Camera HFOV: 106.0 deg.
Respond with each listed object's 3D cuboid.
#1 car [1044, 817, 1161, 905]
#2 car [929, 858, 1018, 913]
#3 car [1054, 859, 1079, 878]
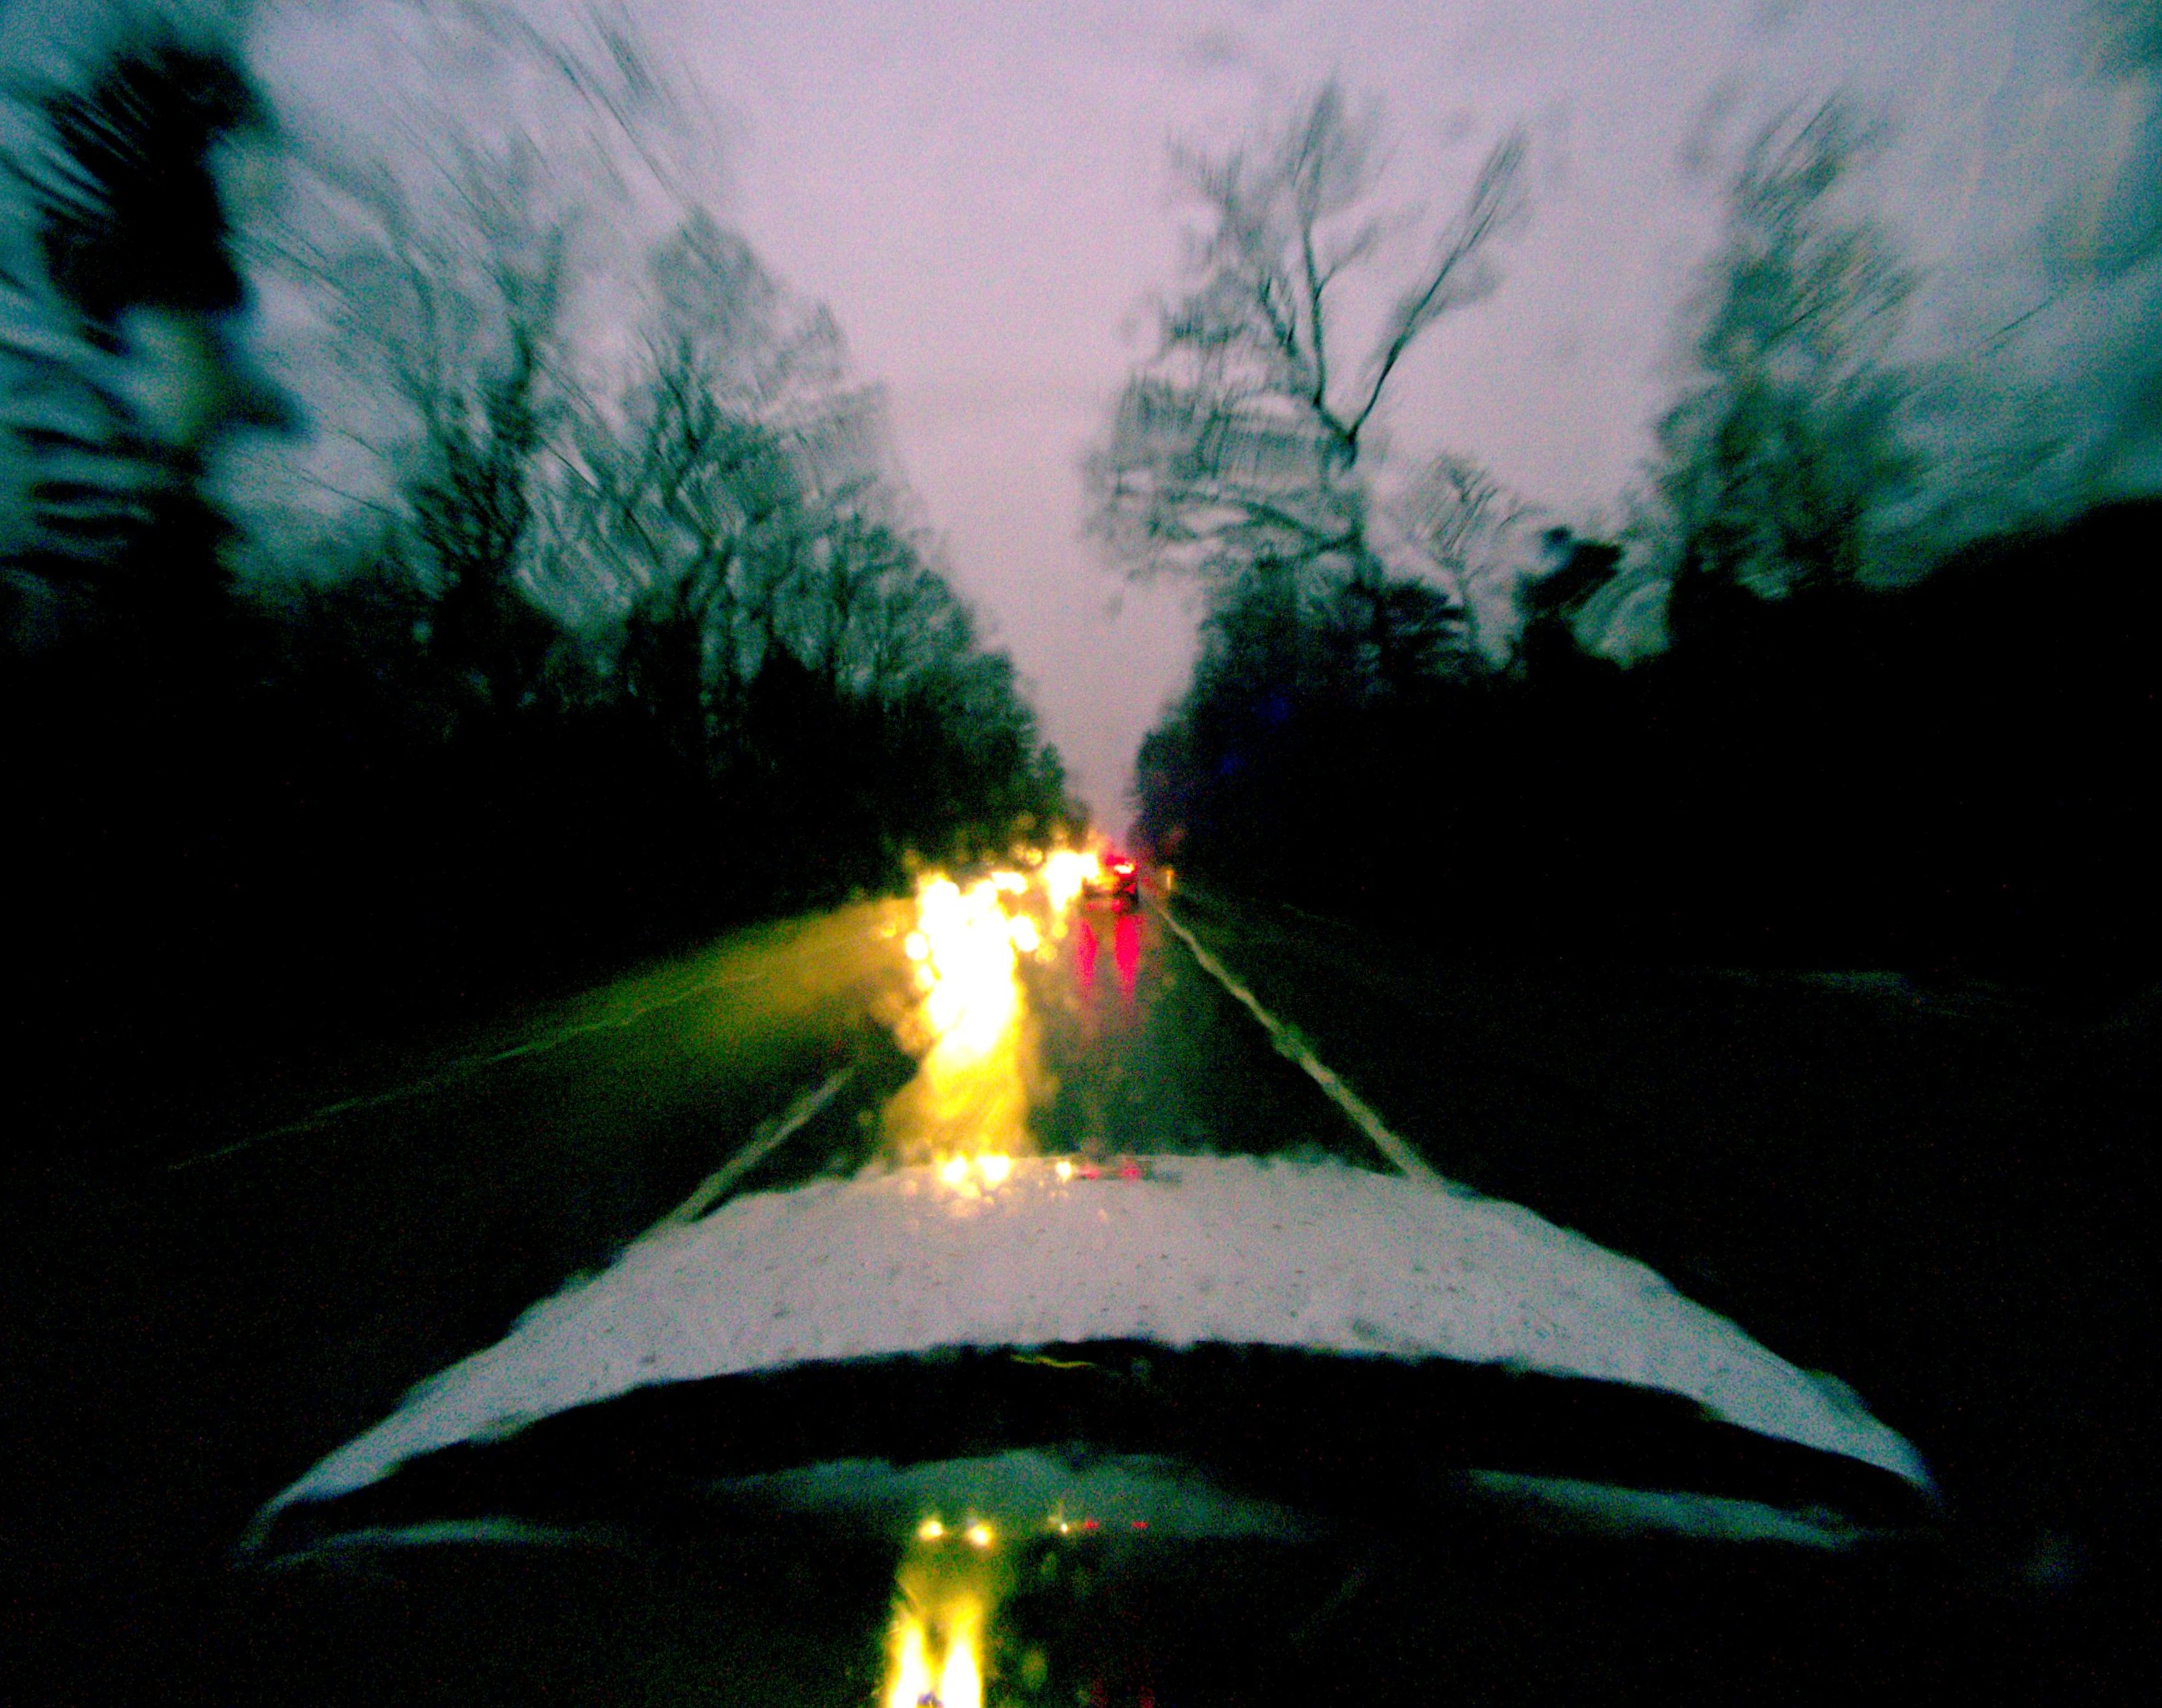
[{"bbox_3d":[0.743,0.209,25.552,3.171,2.386,6.640,0,0,3],"label":"car"},{"bbox_3d":[-3.056,0.852,24.019,1.861,1.422,4.389,-2,0,2],"label":"car"},{"bbox_3d":[-1.272,1.329,74.685,2.068,1.616,4.152,-2,-1,1],"label":"car"}]
